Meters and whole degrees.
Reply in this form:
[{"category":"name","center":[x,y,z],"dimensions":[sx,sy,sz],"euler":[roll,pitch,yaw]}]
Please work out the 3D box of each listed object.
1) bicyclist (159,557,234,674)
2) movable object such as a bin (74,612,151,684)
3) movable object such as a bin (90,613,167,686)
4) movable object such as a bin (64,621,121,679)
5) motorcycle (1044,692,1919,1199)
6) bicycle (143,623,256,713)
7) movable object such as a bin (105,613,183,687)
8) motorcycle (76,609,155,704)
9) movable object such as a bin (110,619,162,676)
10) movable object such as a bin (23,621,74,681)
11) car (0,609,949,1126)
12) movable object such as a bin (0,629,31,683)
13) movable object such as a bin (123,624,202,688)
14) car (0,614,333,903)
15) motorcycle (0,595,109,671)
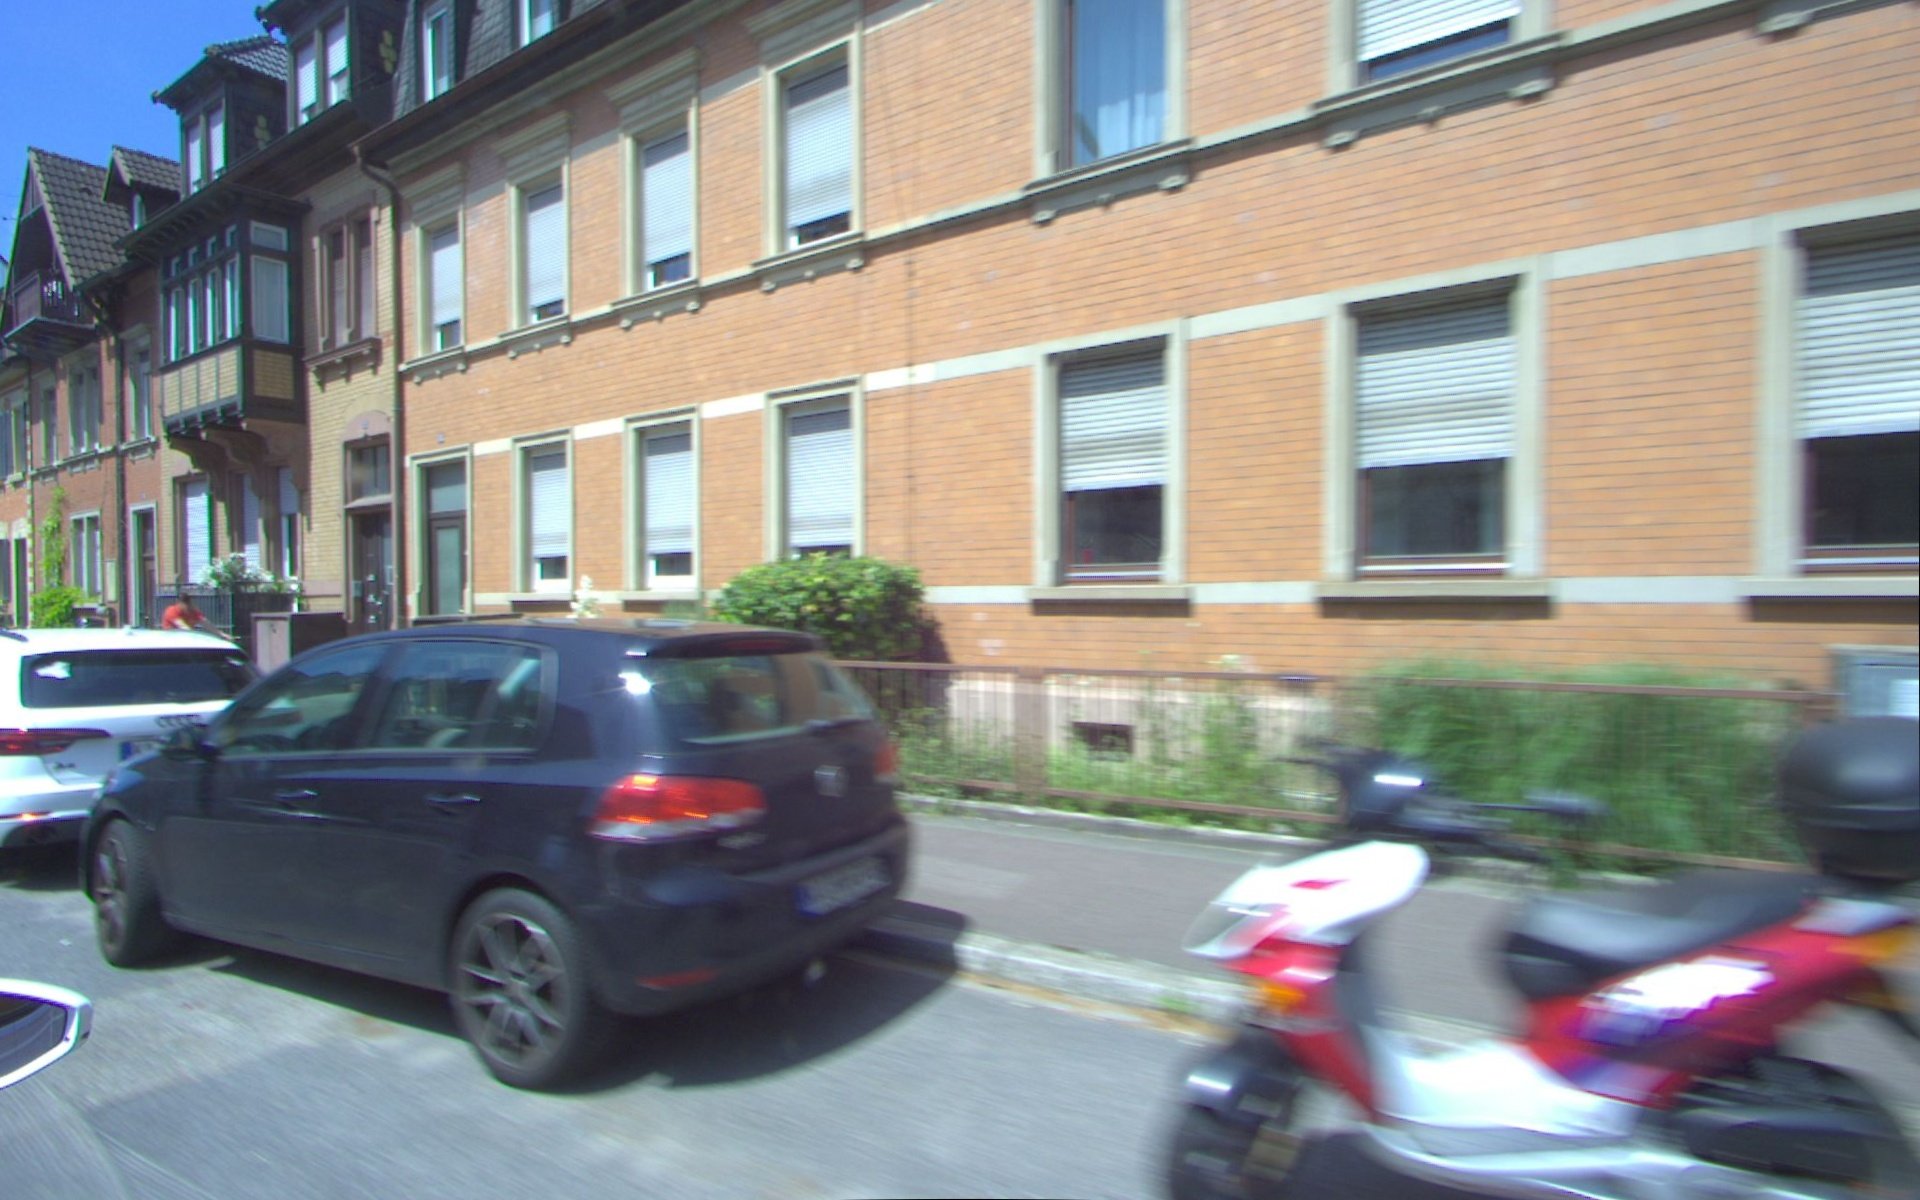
[{"category":"bicyclist","center":[-10.050,0.193,13.180],"dimensions":[0.780,1.489,0.531],"euler":[0,2,34]},{"category":"movable object such as a bin","center":[-13.760,0.763,16.266],"dimensions":[0.545,1.103,0.786],"euler":[0,2,30]},{"category":"movable object such as a bin","center":[-13.265,0.775,15.985],"dimensions":[0.535,1.103,0.786],"euler":[0,2,30]},{"category":"movable object such as a bin","center":[-16.845,0.963,19.440],"dimensions":[0.738,1.069,0.657],"euler":[0,2,34]},{"category":"motorcycle","center":[1.309,0.888,2.246],"dimensions":[1.961,1.241,1.110],"euler":[1,0,-18]},{"category":"bicycle","center":[-10.049,0.863,13.212],"dimensions":[1.856,1.080,0.591],"euler":[0,2,34]},{"category":"movable object such as a bin","center":[-12.775,0.765,15.680],"dimensions":[0.531,1.103,0.786],"euler":[0,2,30]},{"category":"motorcycle","center":[-11.956,0.775,14.163],"dimensions":[1.338,1.255,0.438],"euler":[0,3,33]},{"category":"movable object such as a bin","center":[-16.473,0.936,20.025],"dimensions":[0.751,1.091,0.607],"euler":[0,2,35]},{"category":"movable object such as a bin","center":[-17.217,0.952,18.916],"dimensions":[0.717,1.090,0.555],"euler":[0,2,35]},{"category":"car","center":[-2.386,0.771,4.554],"dimensions":[4.431,1.433,1.647],"euler":[0,0,28]},{"category":"movable object such as a bin","center":[-17.499,1.027,18.423],"dimensions":[0.519,0.954,0.480],"euler":[0,2,34]},{"category":"movable object such as a bin","center":[-12.246,0.845,15.380],"dimensions":[0.531,0.919,0.786],"euler":[0,2,30]},{"category":"car","center":[-6.481,0.856,7.111],"dimensions":[4.525,1.433,1.711],"euler":[0,1,34]},{"category":"motorcycle","center":[-18.808,0.649,20.312],"dimensions":[0.924,1.428,2.123],"euler":[0,3,33]}]
